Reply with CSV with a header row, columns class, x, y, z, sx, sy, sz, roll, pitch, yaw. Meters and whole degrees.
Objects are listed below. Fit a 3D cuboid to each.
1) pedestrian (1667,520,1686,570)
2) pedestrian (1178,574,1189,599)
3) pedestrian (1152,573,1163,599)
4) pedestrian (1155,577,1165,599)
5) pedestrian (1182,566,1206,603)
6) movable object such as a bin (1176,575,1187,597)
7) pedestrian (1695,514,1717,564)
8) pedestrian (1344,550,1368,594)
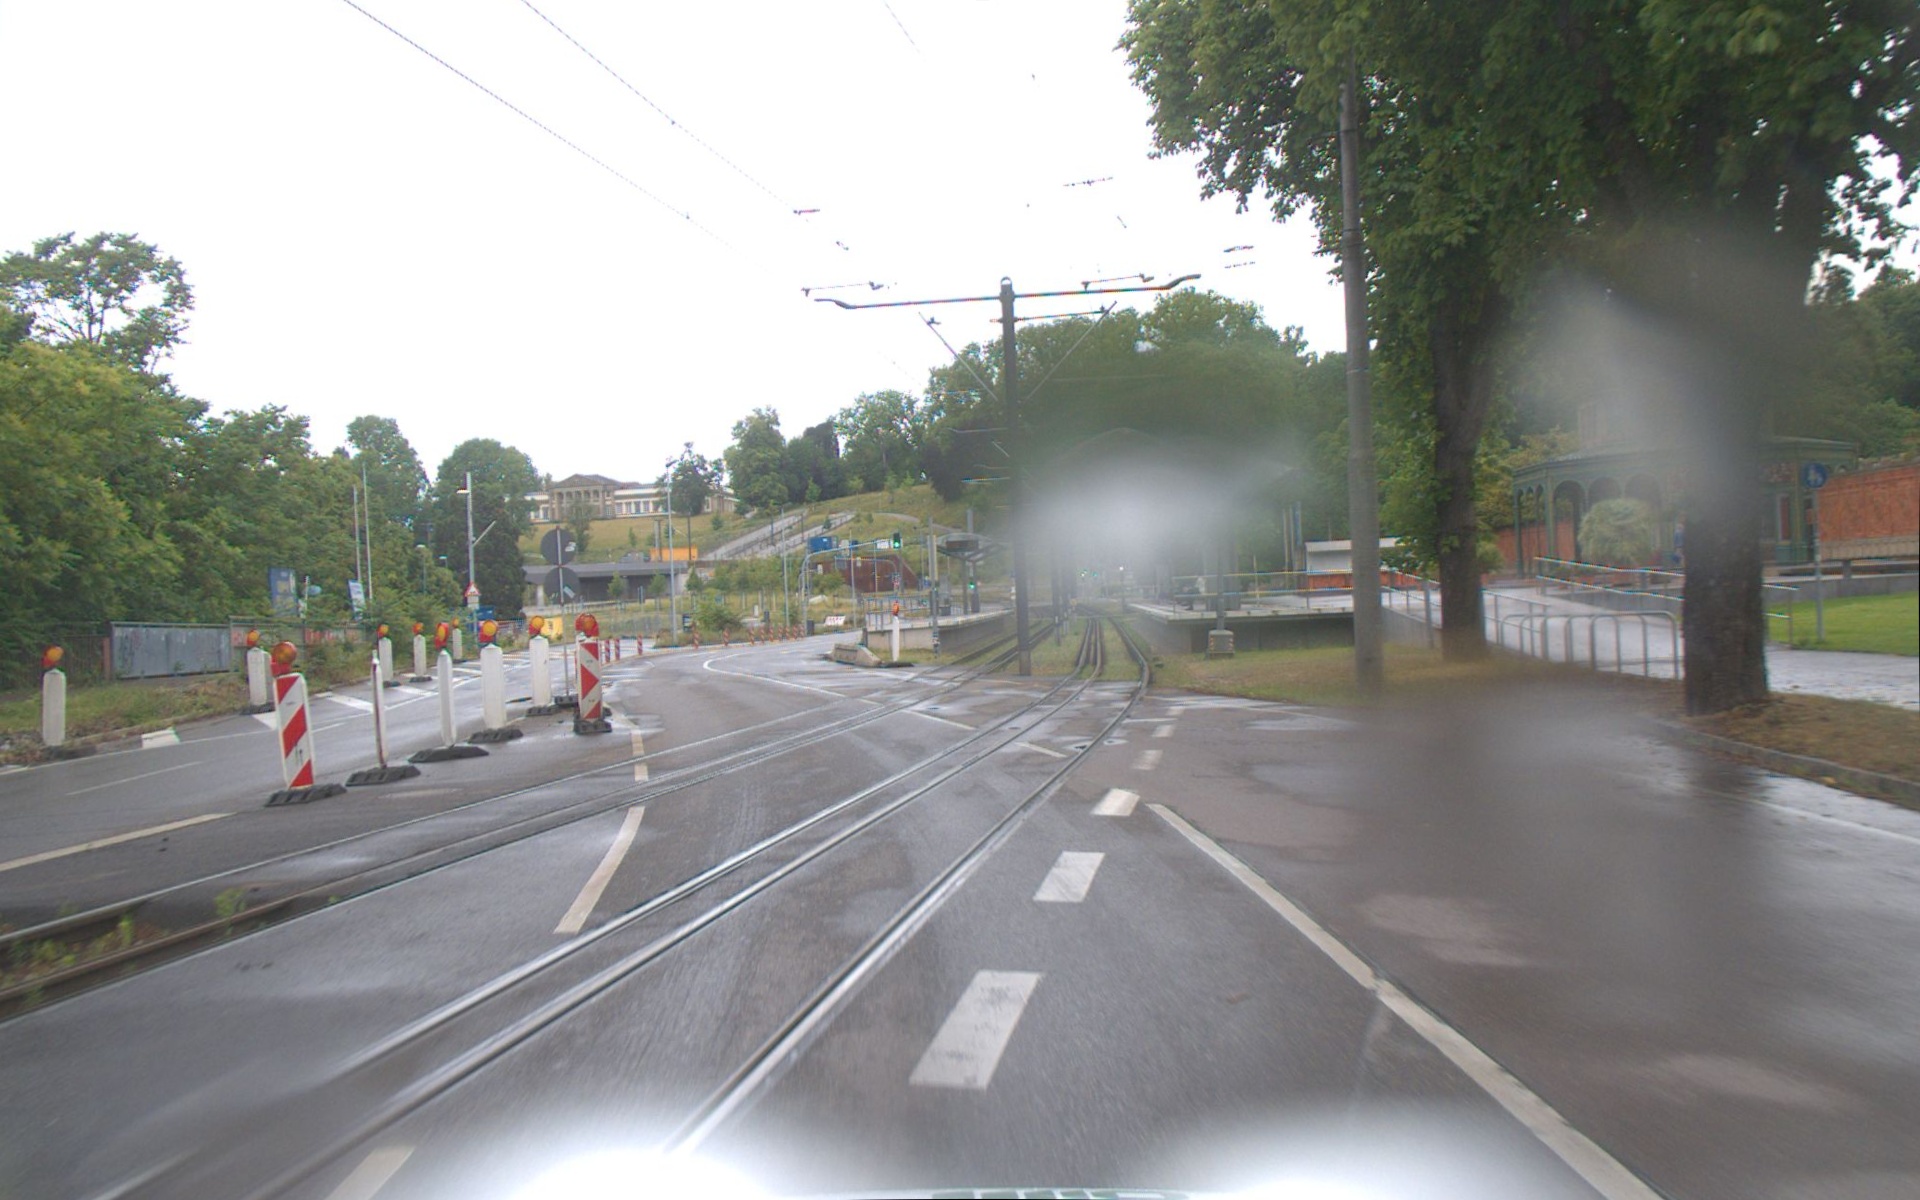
class,x,y,z,sx,sy,sz,roll,pitch,yaw
pedestrian,25.395,-1.938,58.617,0.520,1.740,0.696,-1,-1,16
pedestrian,11.004,-0.667,81.590,0.428,1.247,0.551,-4,0,5
pedestrian,9.722,-0.697,81.352,0.428,1.247,0.551,-4,0,5
pedestrian,9.755,-0.587,80.690,0.428,1.026,0.551,-4,0,5
pedestrian,7.334,-0.468,51.800,0.589,1.138,0.519,1,-1,-11
movable object such as a bin,10.770,-0.691,80.442,0.428,1.026,0.682,-4,0,5
pedestrian,26.042,-2.130,57.732,0.541,1.686,0.467,-3,-1,39
pedestrian,17.110,-1.210,71.419,0.705,1.821,1.183,-5,0,5
